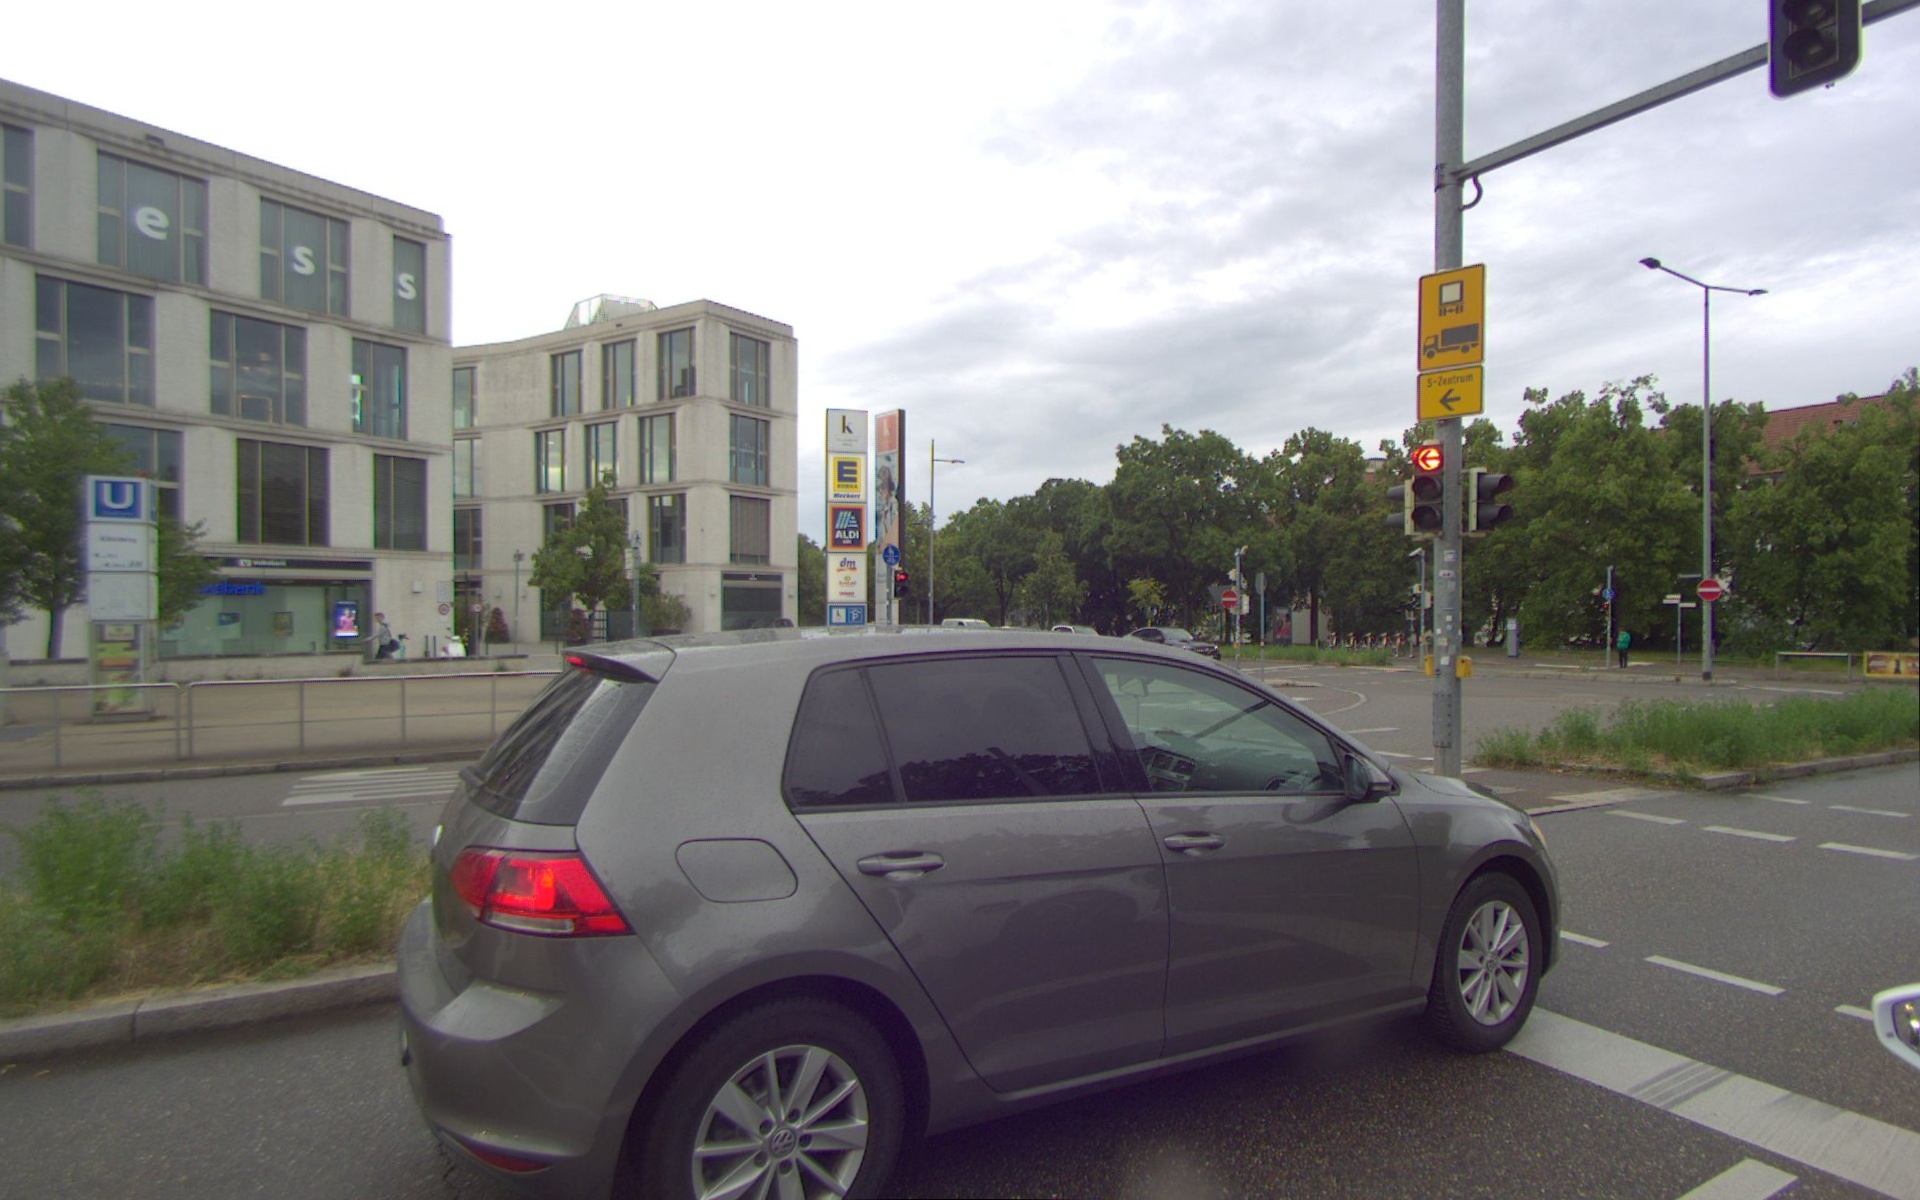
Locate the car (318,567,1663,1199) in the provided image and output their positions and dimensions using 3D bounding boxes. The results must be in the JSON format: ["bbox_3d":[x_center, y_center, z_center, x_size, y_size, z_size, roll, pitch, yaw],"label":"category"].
[{"bbox_3d":[0.370,0.756,3.566,4.323,1.501,1.808,2,-1,-29],"label":"car"}]

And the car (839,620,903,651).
[{"bbox_3d":[-5.327,2.107,59.698,1.976,1.615,4.855,2,0,-29],"label":"car"}]

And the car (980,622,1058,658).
[{"bbox_3d":[2.952,1.992,50.897,1.976,1.615,4.185,2,0,-29],"label":"car"}]

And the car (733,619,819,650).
[{"bbox_3d":[-9.185,1.714,50.318,1.968,1.483,3.985,0,-2,37],"label":"car"}]

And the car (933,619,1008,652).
[{"bbox_3d":[0.533,1.941,55.406,1.976,1.615,4.855,2,0,-29],"label":"car"}]

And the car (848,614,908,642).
[{"bbox_3d":[-5.457,1.811,66.113,1.977,1.615,4.852,2,0,-31],"label":"car"}]

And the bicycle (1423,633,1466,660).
[{"bbox_3d":[23.760,2.299,49.262,1.959,1.266,0.986,2,0,-30],"label":"bicycle"}]

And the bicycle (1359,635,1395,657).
[{"bbox_3d":[21.674,2.392,52.175,1.959,1.085,0.649,2,0,-30],"label":"bicycle"}]

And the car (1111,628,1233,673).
[{"bbox_3d":[8.397,1.964,40.241,1.976,1.520,5.001,2,0,-29],"label":"car"}]

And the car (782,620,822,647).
[{"bbox_3d":[-12.710,2.658,80.618,1.976,2.040,3.969,1,-1,-29],"label":"car"}]

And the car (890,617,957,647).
[{"bbox_3d":[-2.255,1.882,60.394,1.976,1.615,4.855,2,0,-29],"label":"car"}]

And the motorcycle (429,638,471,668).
[{"bbox_3d":[-14.191,1.466,27.944,1.081,0.750,0.522,2,0,29],"label":"motorcycle"}]

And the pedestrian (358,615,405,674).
[{"bbox_3d":[-16.393,1.246,28.484,0.752,1.626,0.911,0,-1,37],"label":"pedestrian"}]

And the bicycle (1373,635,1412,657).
[{"bbox_3d":[22.245,2.358,51.651,1.959,1.085,0.798,2,0,-30],"label":"bicycle"}]

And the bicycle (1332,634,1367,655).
[{"bbox_3d":[20.940,2.385,54.036,1.959,1.085,0.649,2,0,-30],"label":"bicycle"}]

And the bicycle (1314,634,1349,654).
[{"bbox_3d":[20.269,2.399,54.765,1.959,1.085,0.649,2,0,-30],"label":"bicycle"}]

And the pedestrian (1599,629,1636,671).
[{"bbox_3d":[27.930,2.120,42.661,0.933,1.750,0.919,2,0,-26],"label":"pedestrian"}]

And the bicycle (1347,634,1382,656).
[{"bbox_3d":[21.373,2.375,53.035,1.959,1.085,0.649,2,0,-30],"label":"bicycle"}]

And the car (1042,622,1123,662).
[{"bbox_3d":[5.558,1.906,46.027,1.976,1.615,3.536,2,0,-30],"label":"car"}]
